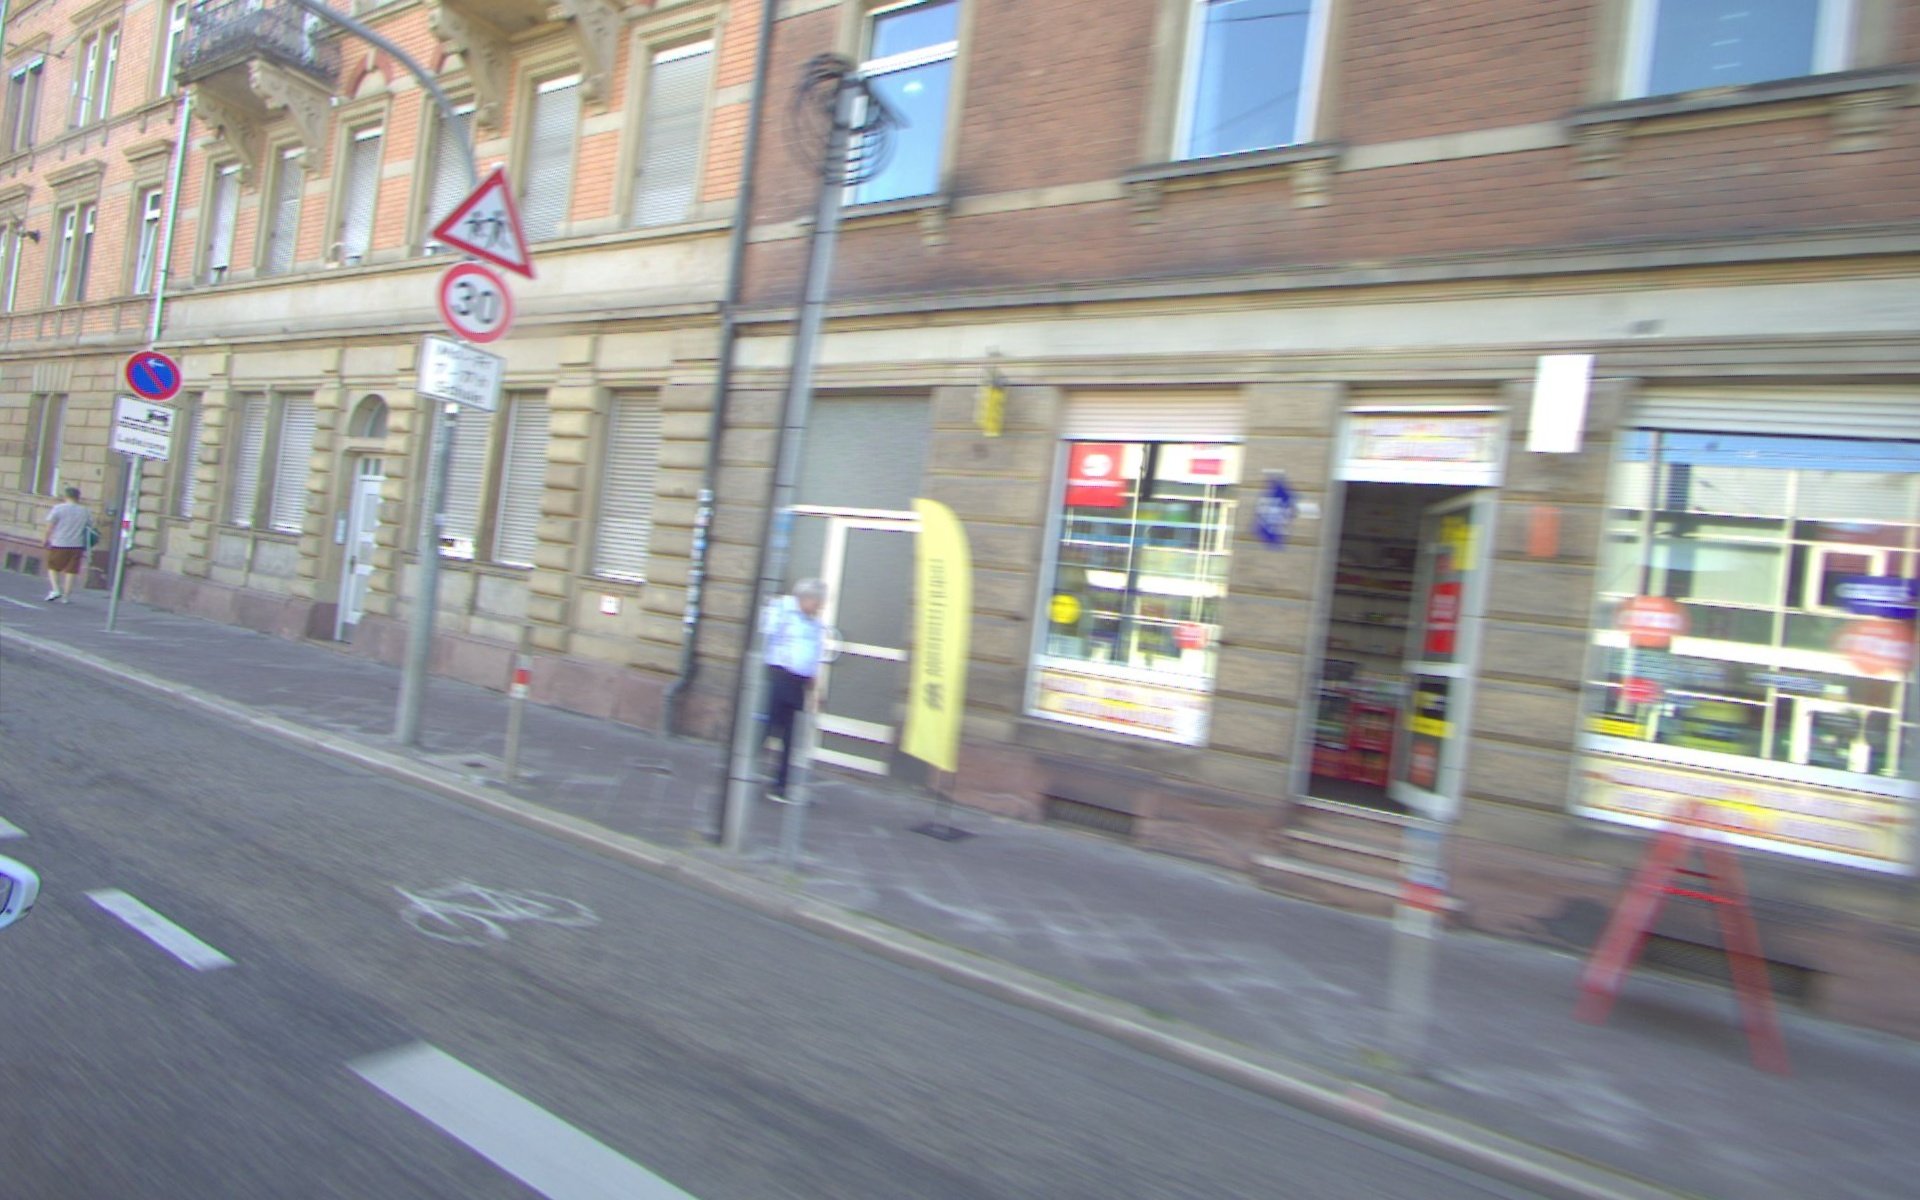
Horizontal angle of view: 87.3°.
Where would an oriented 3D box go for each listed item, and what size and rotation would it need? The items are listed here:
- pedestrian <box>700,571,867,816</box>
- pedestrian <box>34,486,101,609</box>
[{"bbox_3d":[-1.268,0.665,7.297,0.642,1.623,0.799,6,-1,34],"label":"pedestrian"},{"bbox_3d":[-13.100,-0.767,14.763,0.467,1.722,0.552,6,1,38],"label":"pedestrian"}]
